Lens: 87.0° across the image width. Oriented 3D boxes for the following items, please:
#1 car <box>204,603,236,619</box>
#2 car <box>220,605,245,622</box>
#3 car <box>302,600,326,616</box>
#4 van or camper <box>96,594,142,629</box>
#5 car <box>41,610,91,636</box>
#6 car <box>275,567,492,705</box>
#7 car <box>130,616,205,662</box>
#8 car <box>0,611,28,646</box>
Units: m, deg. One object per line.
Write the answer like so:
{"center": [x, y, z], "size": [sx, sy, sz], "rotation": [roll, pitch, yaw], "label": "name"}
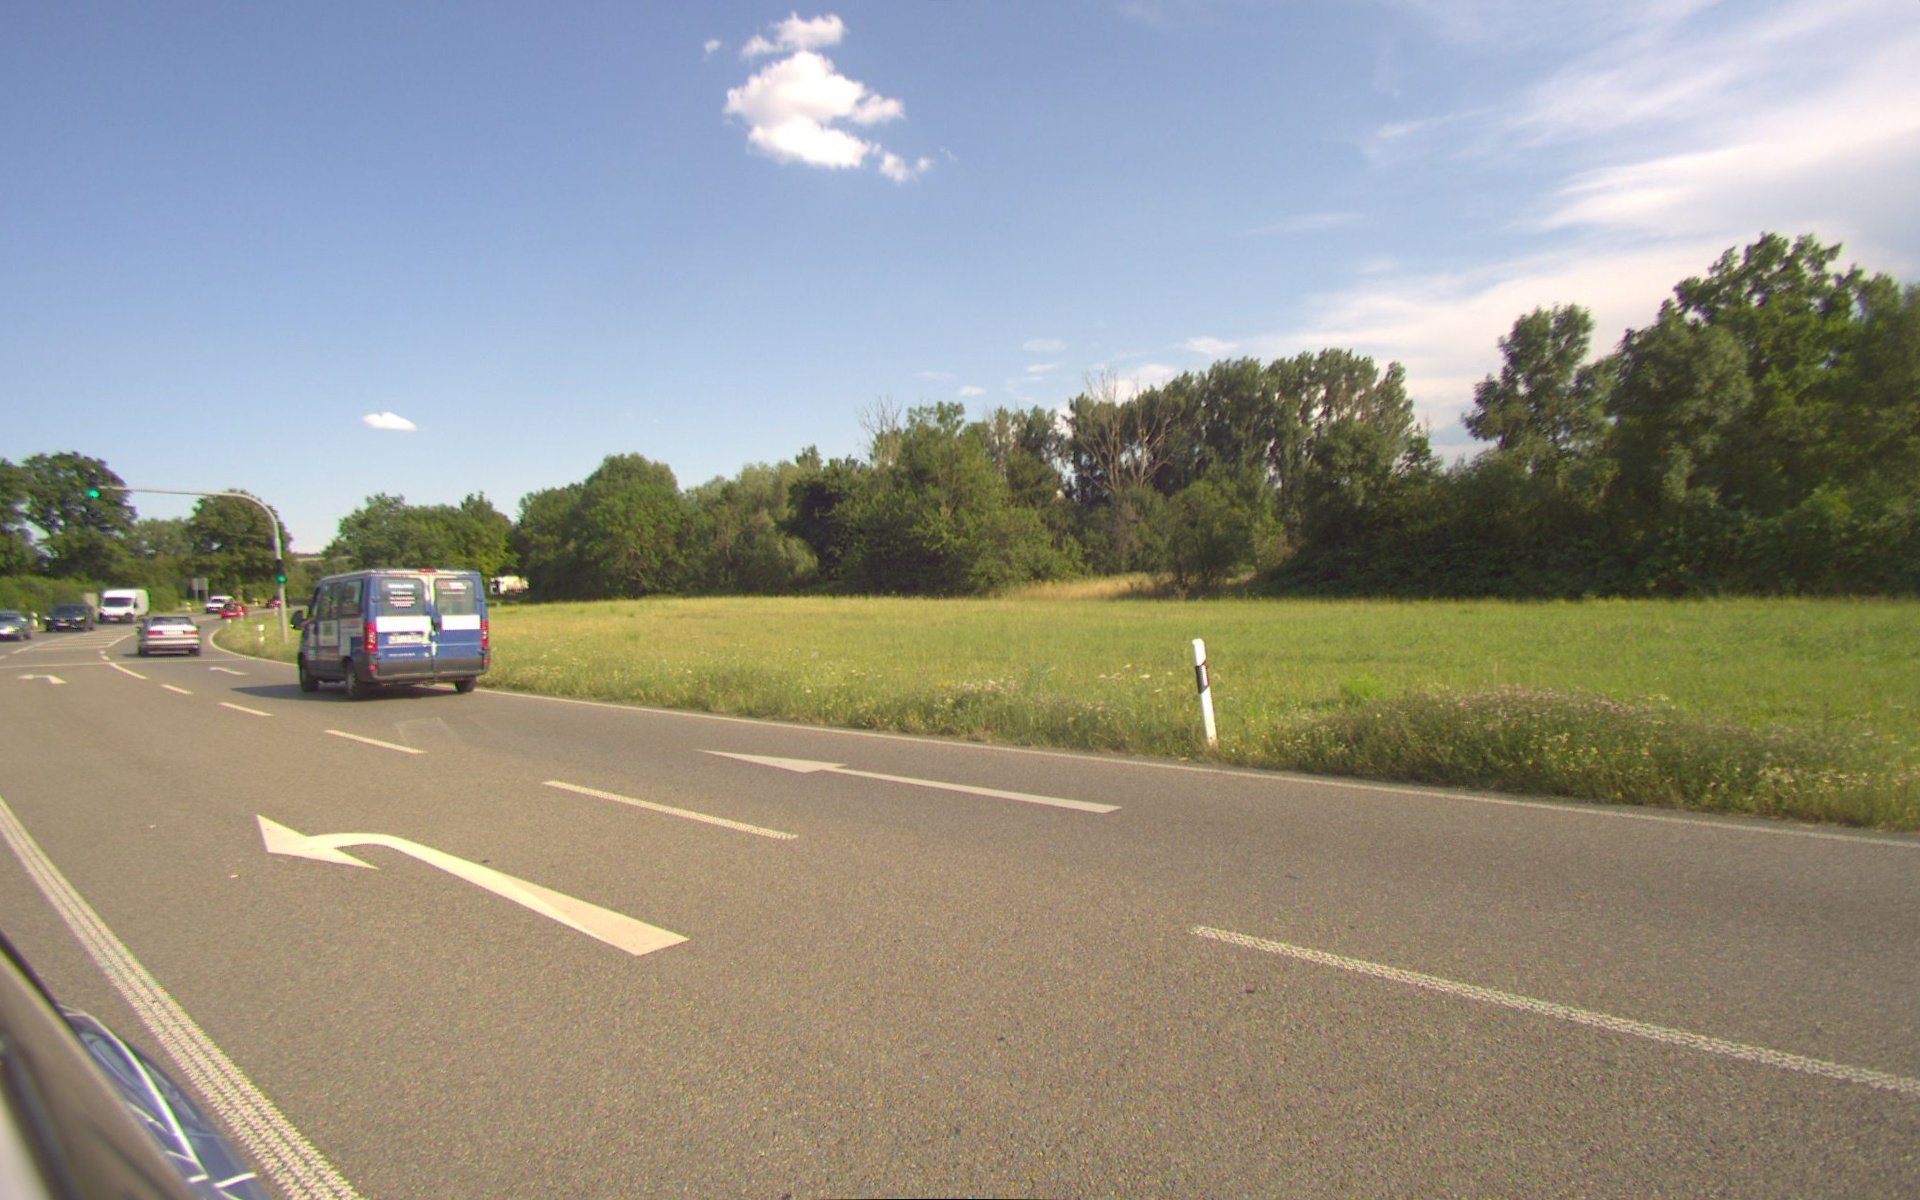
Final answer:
{"center": [-77.129, 1.146, 105.532], "size": [1.646, 1.490, 3.505], "rotation": [-3, 1, -19], "label": "car"}
{"center": [-64.064, 1.230, 89.142], "size": [1.564, 1.478, 3.617], "rotation": [0, -1, -33], "label": "car"}
{"center": [-80.262, 1.004, 125.775], "size": [1.700, 1.897, 4.350], "rotation": [0, -1, -22], "label": "car"}
{"center": [-63.433, 0.830, 76.424], "size": [2.001, 2.494, 5.091], "rotation": [-3, 1, -33], "label": "van or camper"}
{"center": [-53.538, 1.351, 60.686], "size": [1.581, 1.490, 3.627], "rotation": [1, -1, -31], "label": "car"}
{"center": [-10.388, 0.578, 18.074], "size": [4.778, 2.153, 1.977], "rotation": [-1, 0, 43], "label": "car"}
{"center": [-27.707, 1.322, 35.330], "size": [1.686, 1.439, 4.182], "rotation": [-1, 0, -43], "label": "car"}
{"center": [-45.491, 1.331, 47.975], "size": [1.609, 1.570, 3.425], "rotation": [1, 0, -37], "label": "car"}
